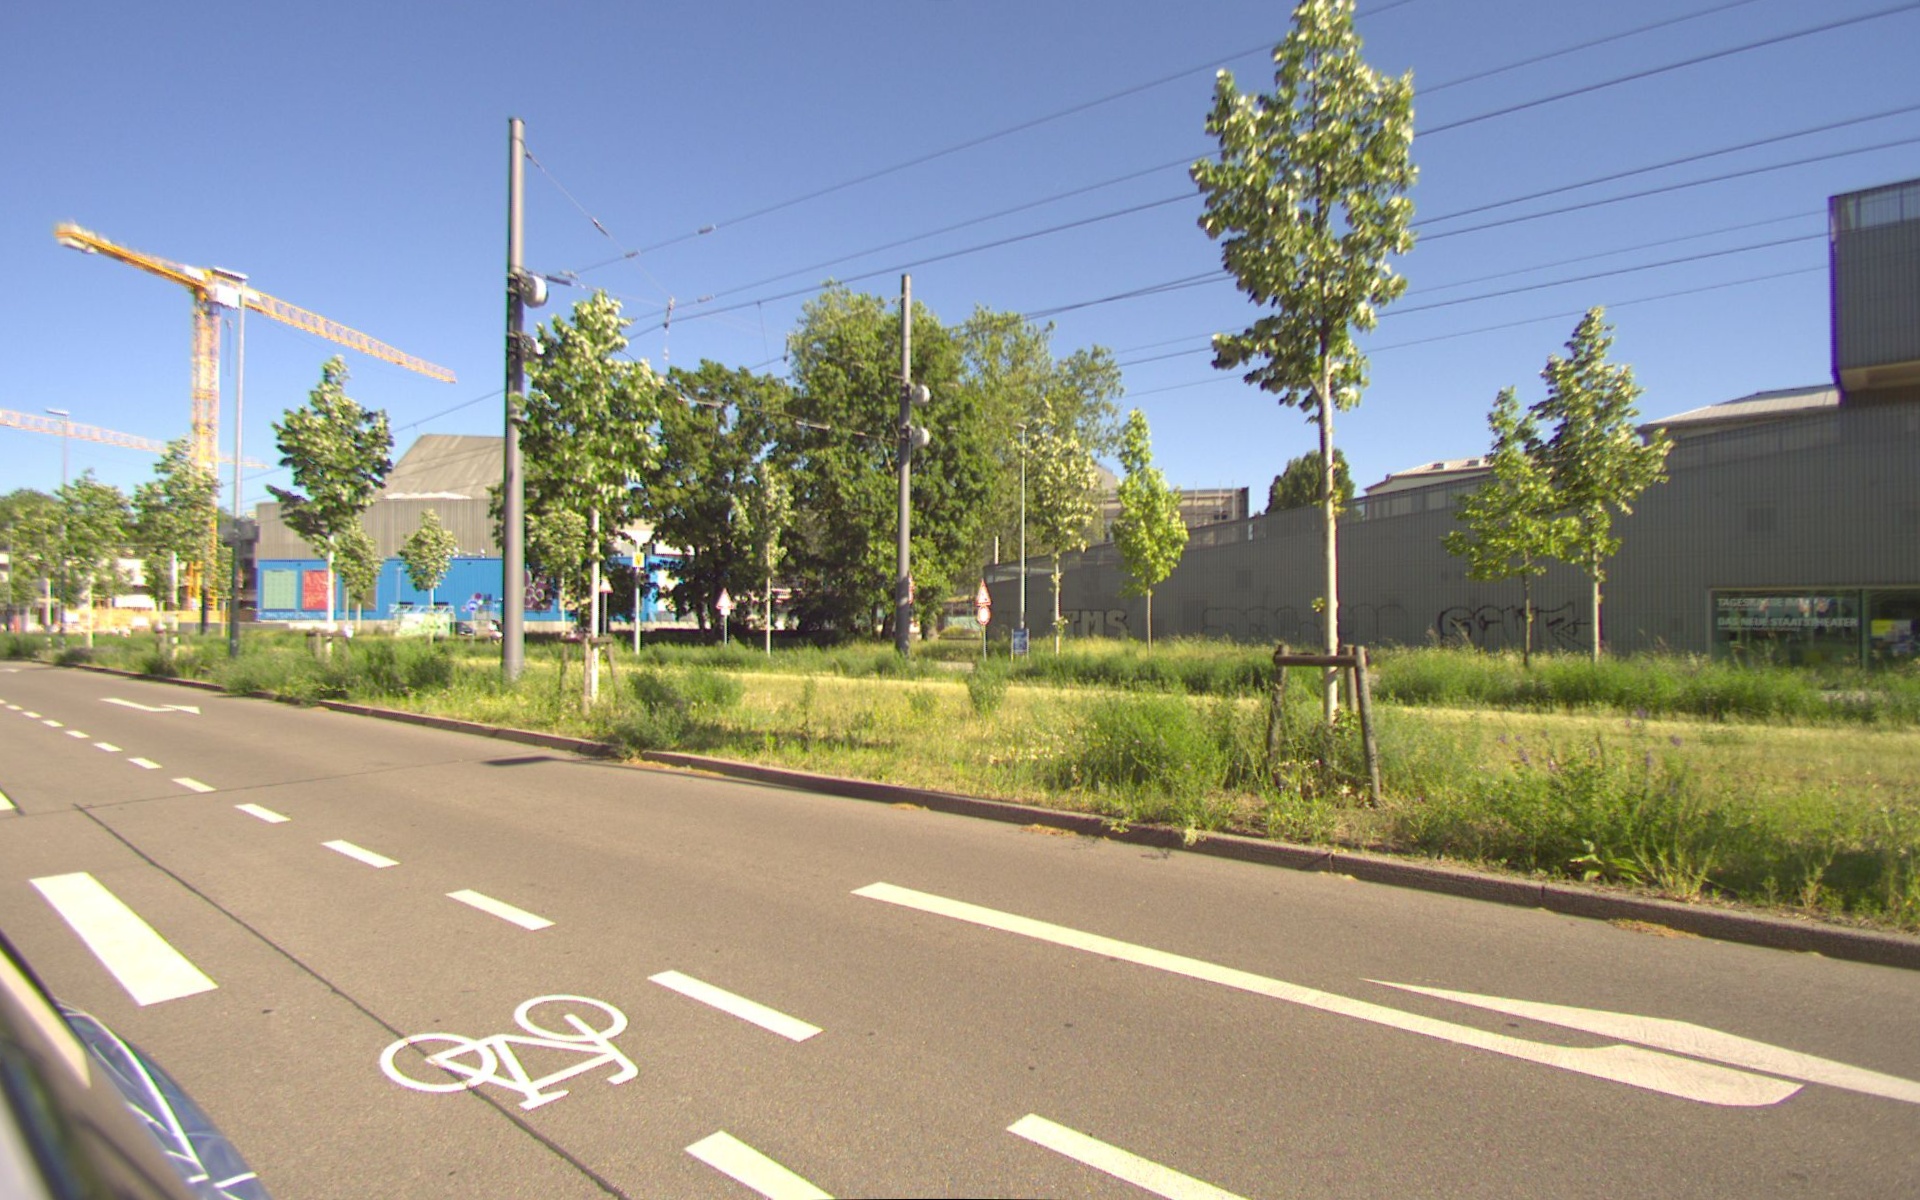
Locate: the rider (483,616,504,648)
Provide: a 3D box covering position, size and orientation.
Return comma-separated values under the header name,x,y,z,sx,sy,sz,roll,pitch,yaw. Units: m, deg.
name,x,y,z,sx,sy,sz,roll,pitch,yaw
rider,-23.032,1.579,49.969,0.631,1.534,0.715,-2,-2,38
